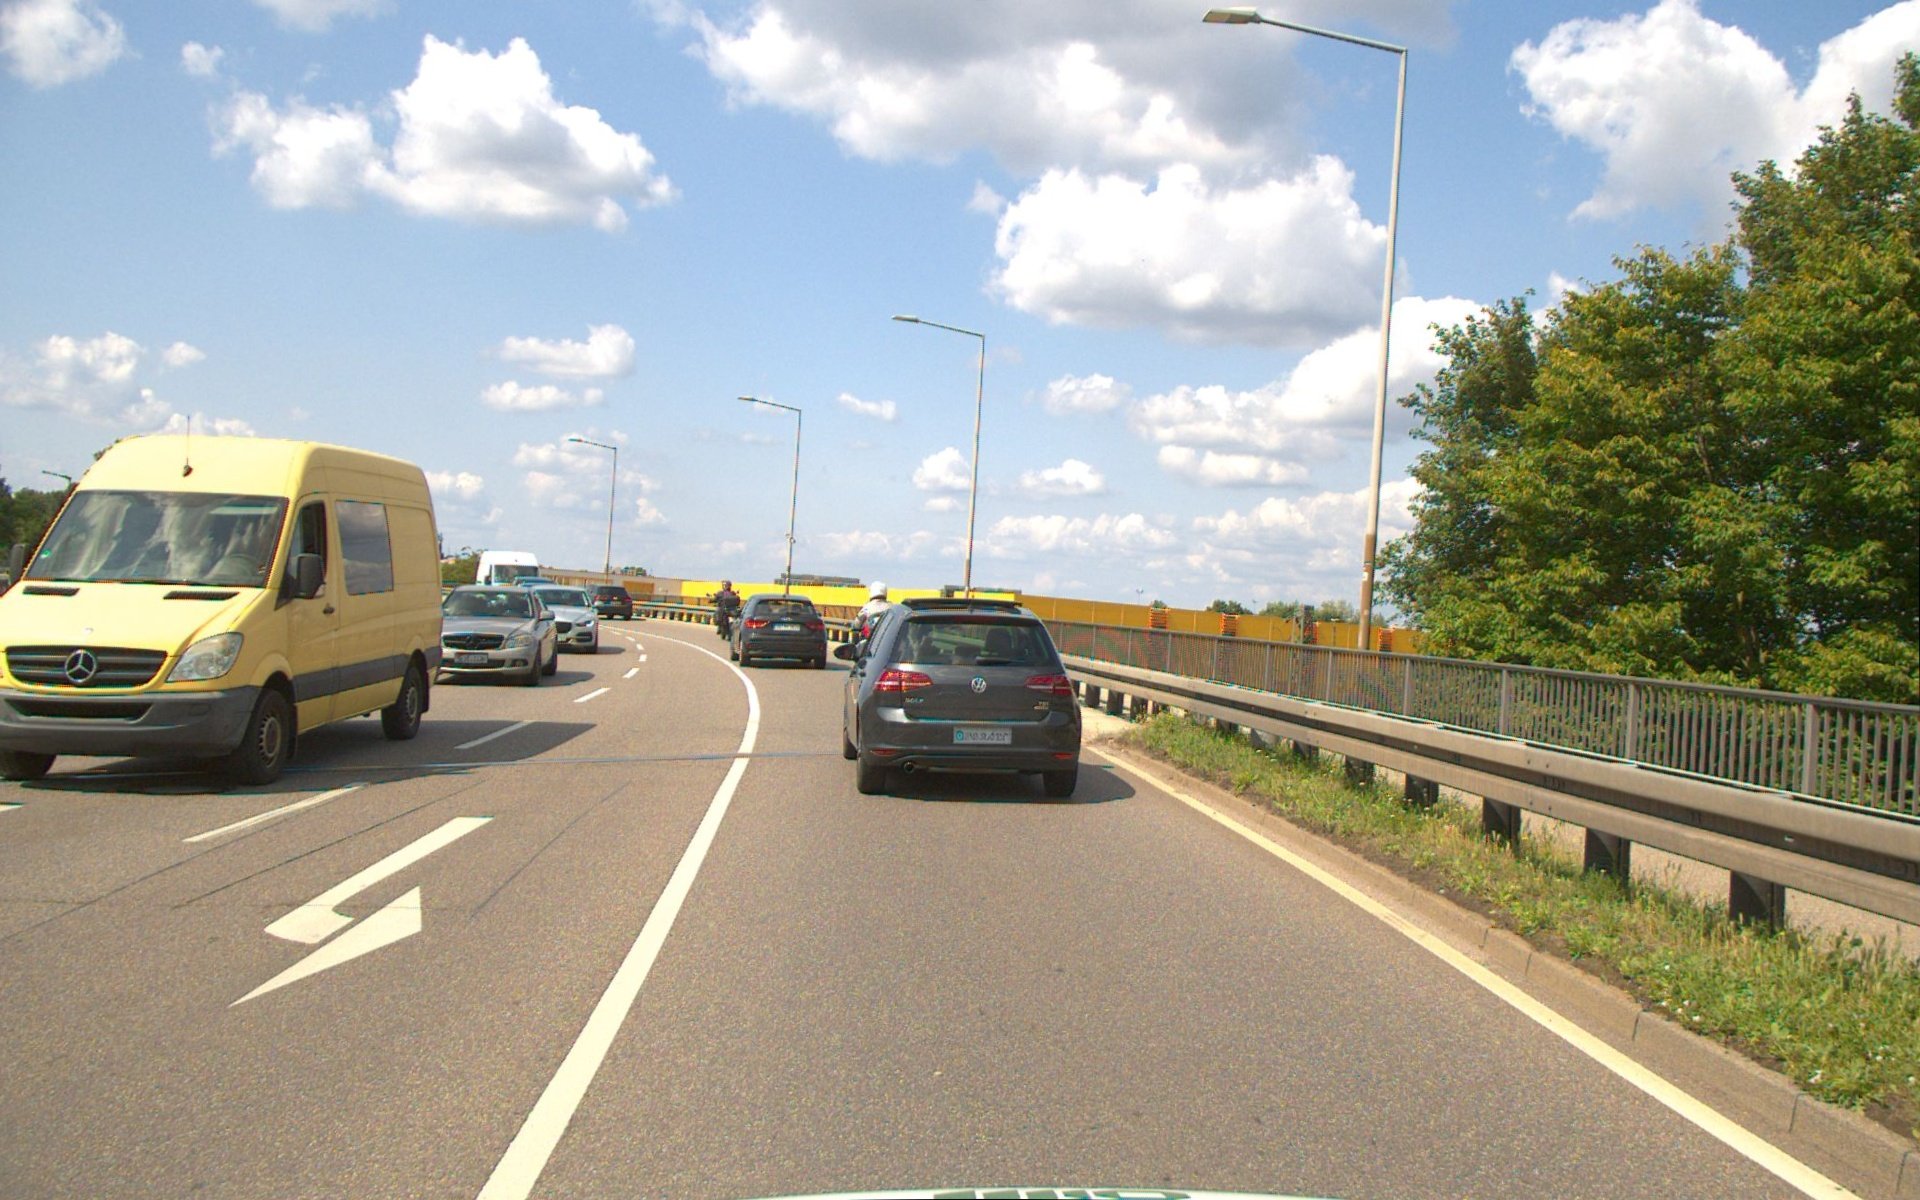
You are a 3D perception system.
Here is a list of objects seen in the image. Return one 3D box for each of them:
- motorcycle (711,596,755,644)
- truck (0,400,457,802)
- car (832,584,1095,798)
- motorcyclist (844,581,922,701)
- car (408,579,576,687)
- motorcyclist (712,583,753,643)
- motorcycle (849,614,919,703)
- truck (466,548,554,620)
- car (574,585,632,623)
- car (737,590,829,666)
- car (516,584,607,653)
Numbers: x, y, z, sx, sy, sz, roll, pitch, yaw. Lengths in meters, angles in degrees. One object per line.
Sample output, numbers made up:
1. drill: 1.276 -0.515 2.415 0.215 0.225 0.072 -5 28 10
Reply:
1. motorcycle: -6.441 0.541 46.834 0.873 1.269 2.390 2 0 -15
2. truck: -6.033 -0.016 14.051 1.954 2.666 6.100 0 0 -3
3. car: -0.110 0.676 13.939 1.612 1.504 3.864 2 0 -9
4. motorcyclist: -1.119 0.577 23.848 0.948 1.648 1.123 3 0 -8
5. car: -7.082 0.466 25.444 1.714 1.474 4.332 2 0 -6
6. motorcyclist: -6.457 0.358 46.971 0.950 1.624 1.120 3 0 -16
7. motorcycle: -1.106 0.808 23.666 0.774 1.151 2.395 2 0 -7
8. truck: -17.132 -0.635 62.814 1.970 2.551 5.894 1 0 -28
9. car: -15.151 0.165 70.121 1.621 1.504 3.843 2 -1 -24
10. car: -3.617 0.565 33.393 1.651 1.412 3.731 2 -1 -9
11. car: -8.874 0.384 37.112 1.762 1.399 4.567 2 0 -12
